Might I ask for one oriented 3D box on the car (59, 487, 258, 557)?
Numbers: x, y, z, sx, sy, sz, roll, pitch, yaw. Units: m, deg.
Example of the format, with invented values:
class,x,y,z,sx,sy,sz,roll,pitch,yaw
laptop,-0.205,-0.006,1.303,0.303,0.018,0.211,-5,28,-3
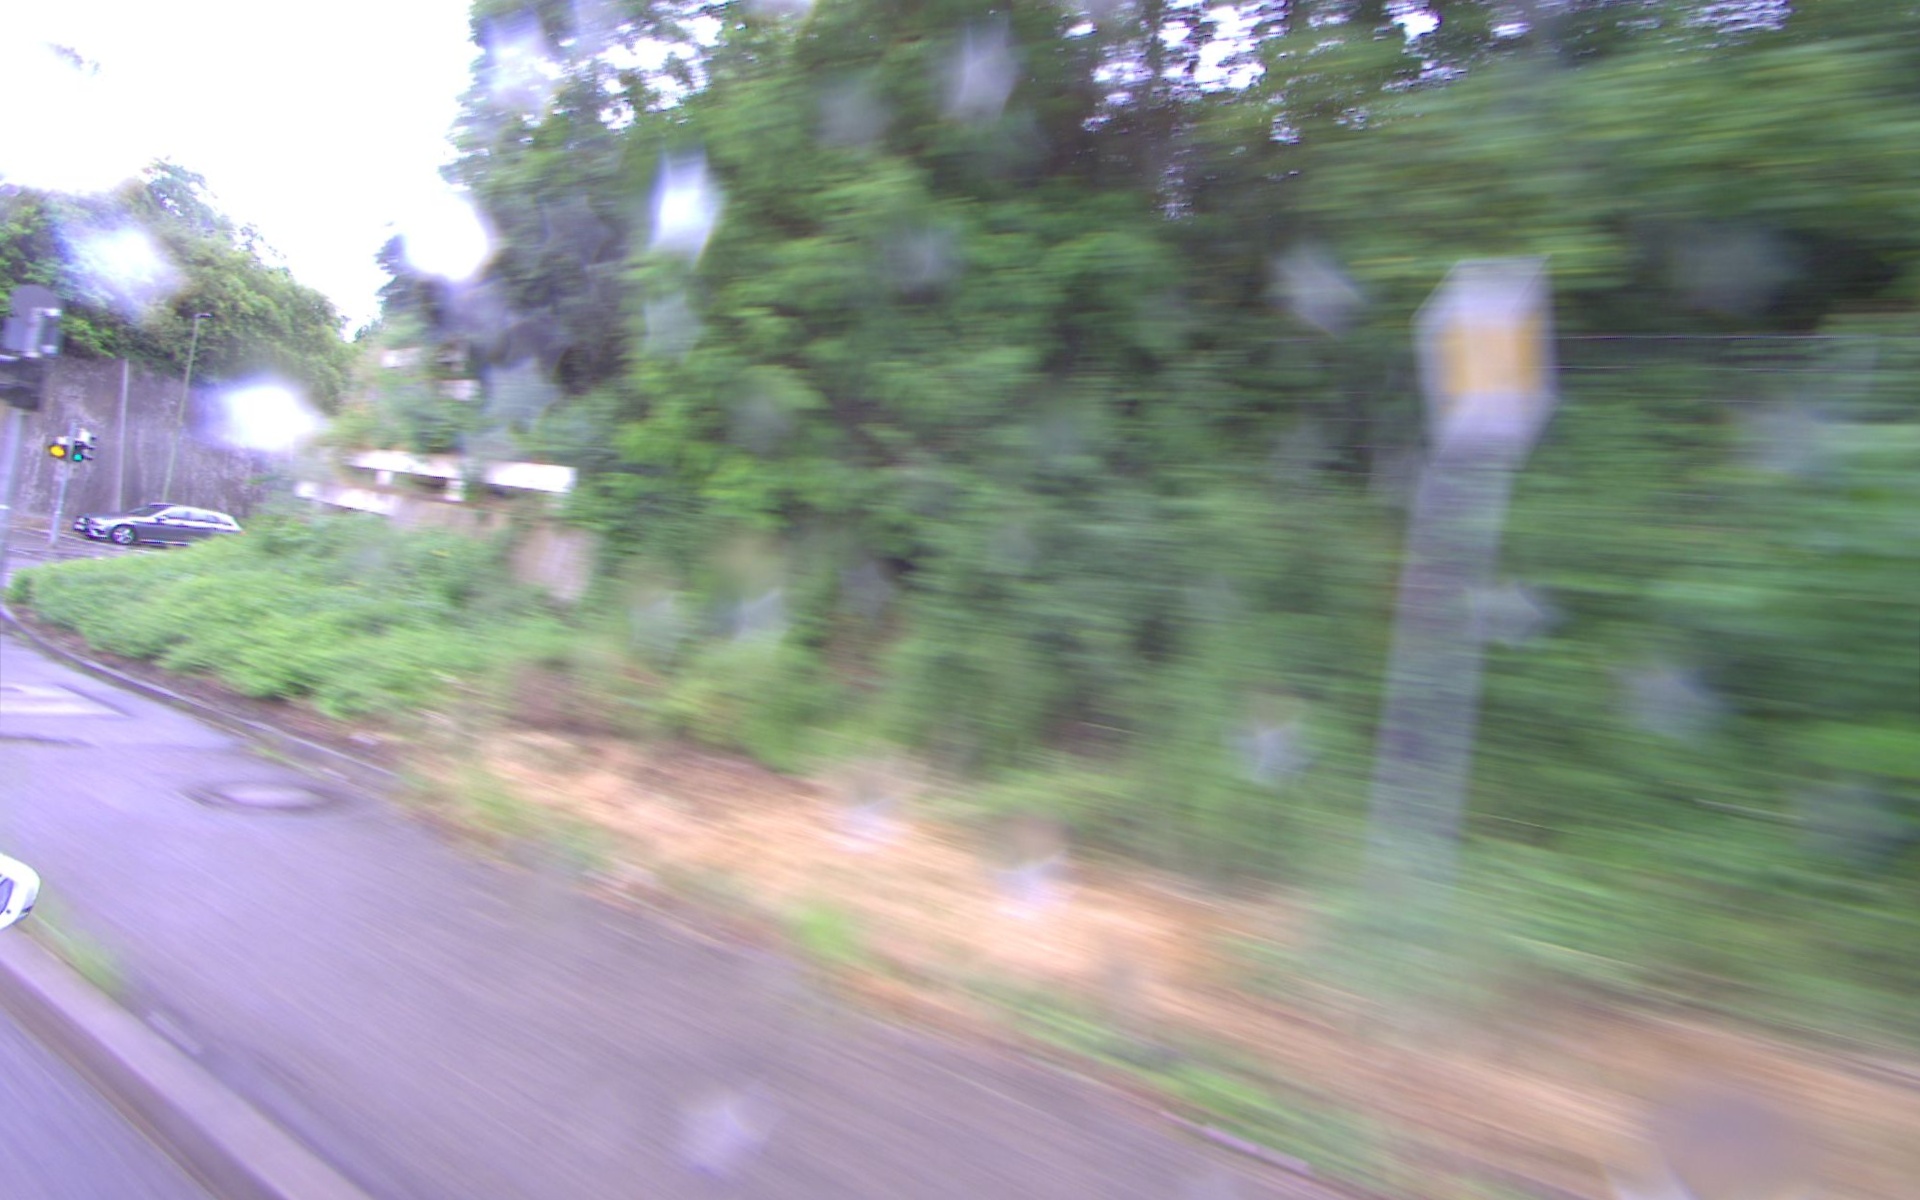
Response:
class,x,y,z,sx,sy,sz,roll,pitch,yaw
car,-26.633,-2.545,33.642,1.964,1.521,4.729,7,-1,23
